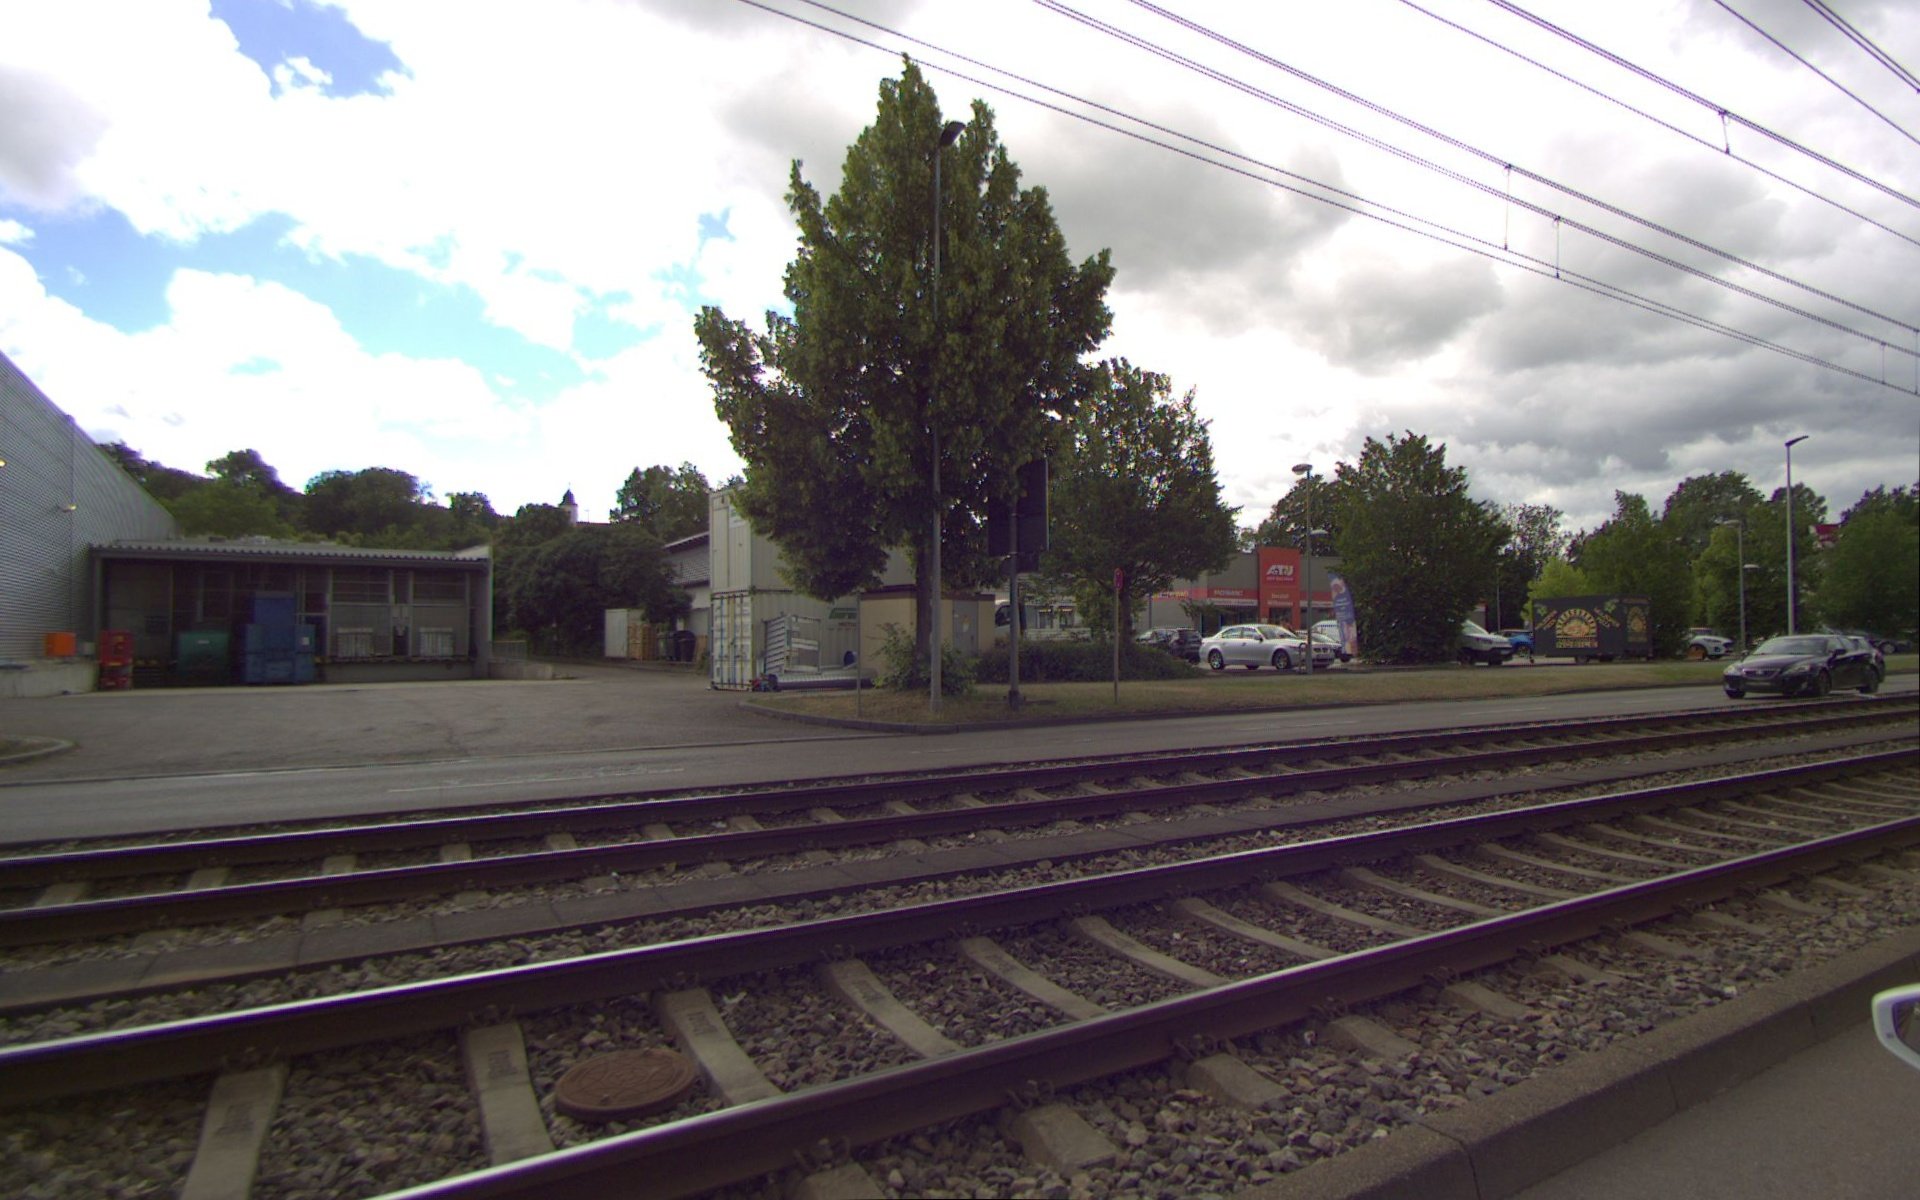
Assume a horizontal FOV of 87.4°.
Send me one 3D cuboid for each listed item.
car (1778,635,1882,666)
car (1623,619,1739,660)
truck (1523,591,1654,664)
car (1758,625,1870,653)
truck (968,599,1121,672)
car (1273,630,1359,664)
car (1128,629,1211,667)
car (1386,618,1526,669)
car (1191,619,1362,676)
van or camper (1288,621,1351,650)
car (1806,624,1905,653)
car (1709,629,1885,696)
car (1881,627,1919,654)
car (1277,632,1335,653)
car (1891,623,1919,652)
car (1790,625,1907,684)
[{"bbox_3d":[47.862,2.774,55.309,1.859,1.656,3.963,1,-3,-34],"label":"car"},{"bbox_3d":[33.440,1.822,46.690,1.859,1.821,3.963,1,-3,-34],"label":"car"},{"bbox_3d":[25.848,1.168,41.422,2.350,2.858,3.966,1,-2,-32],"label":"truck"},{"bbox_3d":[45.853,2.077,54.002,1.662,1.491,4.284,1,-2,-32],"label":"car"},{"bbox_3d":[3.003,1.257,35.264,5.202,2.414,1.984,1,-3,-30],"label":"truck"},{"bbox_3d":[17.754,2.349,50.286,1.668,1.661,3.903,1,-3,-30],"label":"car"},{"bbox_3d":[9.299,2.138,44.905,1.669,1.617,3.979,1,-2,-23],"label":"car"},{"bbox_3d":[18.057,1.570,36.777,1.973,1.750,4.199,1,-3,-31],"label":"car"},{"bbox_3d":[10.060,1.487,32.280,2.619,1.650,4.761,0,-2,-29],"label":"car"},{"bbox_3d":[27.310,2.716,76.452,1.803,2.173,4.235,1,-2,-34],"label":"van or camper"},{"bbox_3d":[52.053,2.253,58.423,1.859,1.620,3.963,1,-3,-34],"label":"car"},{"bbox_3d":[19.277,1.424,23.095,4.393,1.419,1.751,1,-5,-31],"label":"car"},{"bbox_3d":[58.921,2.440,61.081,1.859,1.620,3.963,1,-3,-34],"label":"car"},{"bbox_3d":[25.498,3.126,74.090,1.664,1.491,3.716,1,-3,-36],"label":"car"},{"bbox_3d":[62.801,2.422,64.631,1.859,1.821,3.962,1,-1,-34],"label":"car"},{"bbox_3d":[28.487,1.708,32.186,3.956,1.795,1.782,1,-2,-32],"label":"car"}]
